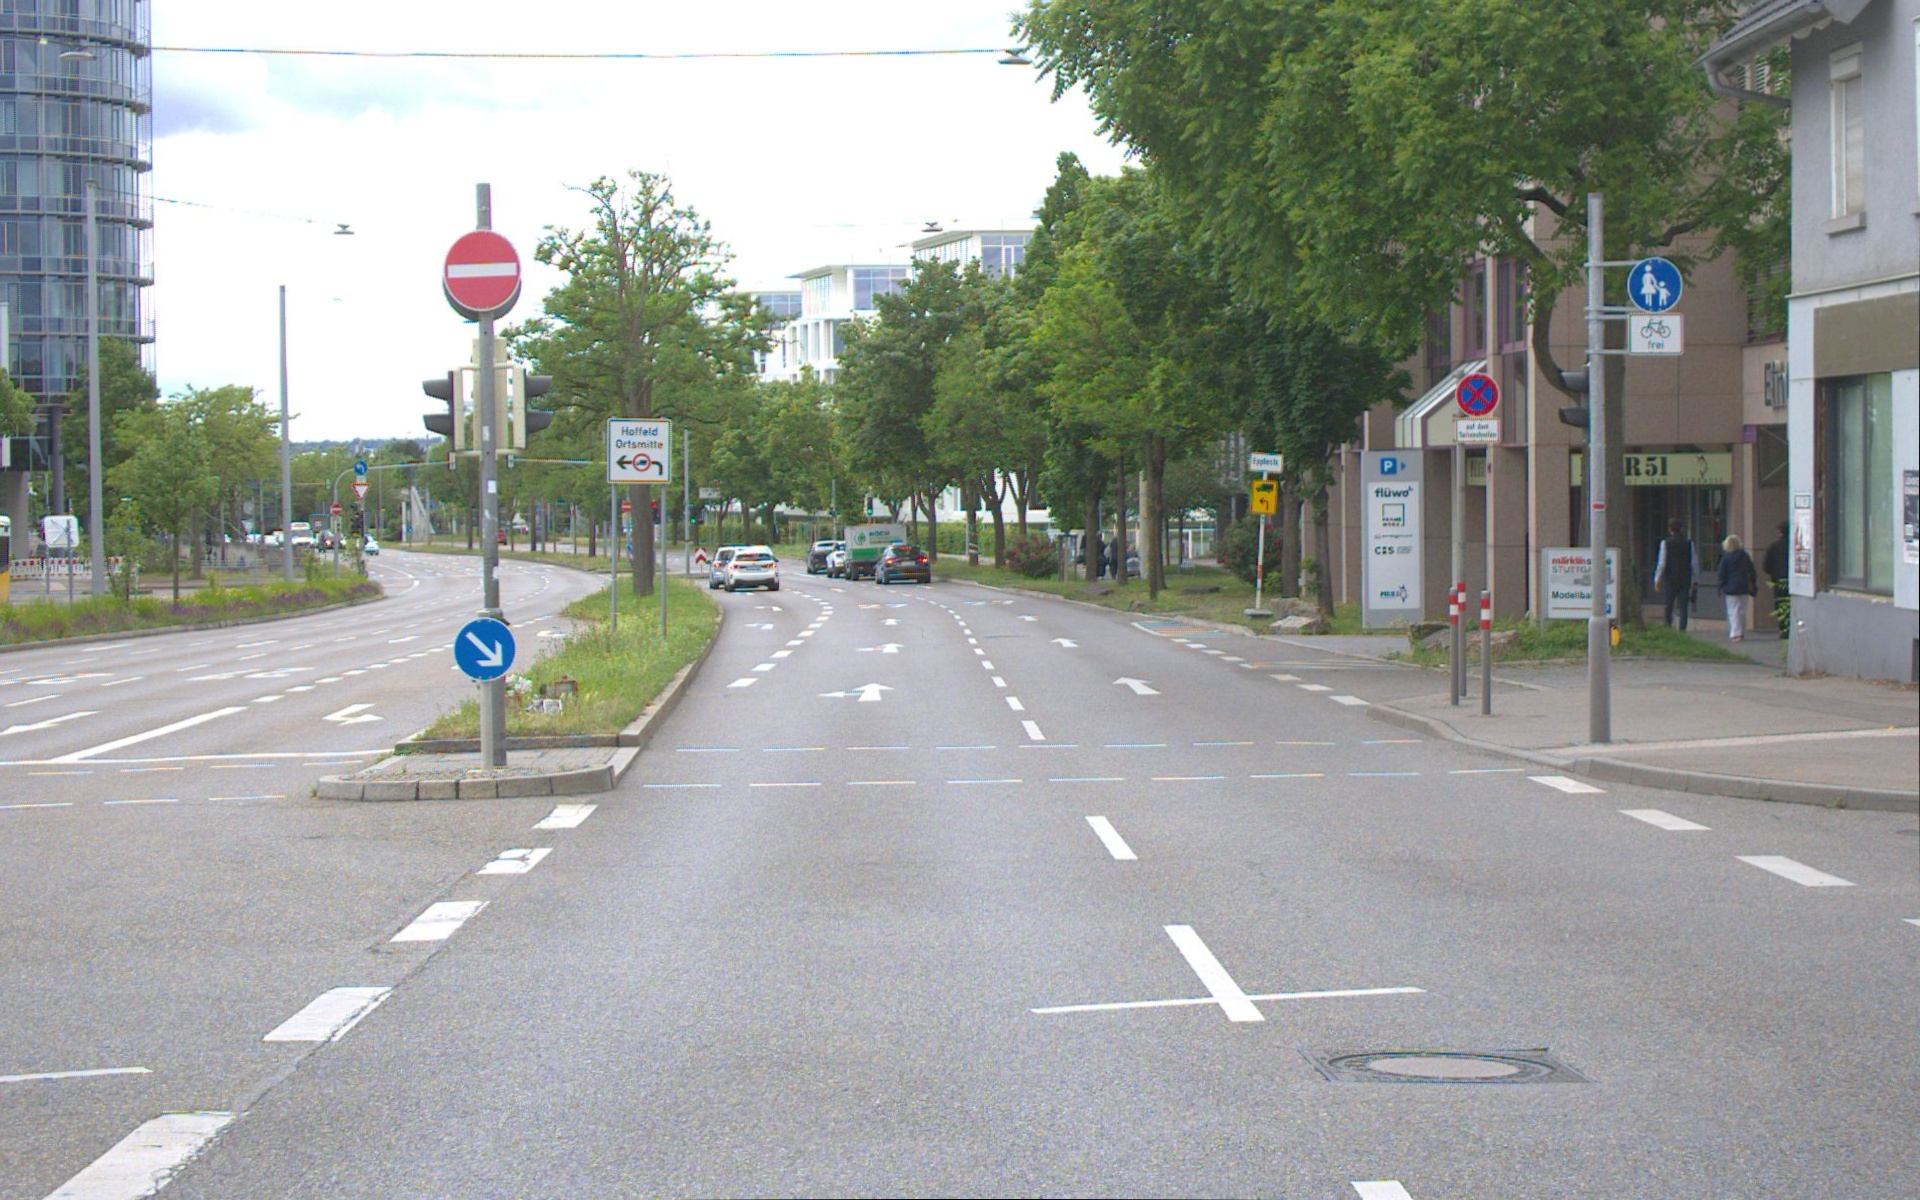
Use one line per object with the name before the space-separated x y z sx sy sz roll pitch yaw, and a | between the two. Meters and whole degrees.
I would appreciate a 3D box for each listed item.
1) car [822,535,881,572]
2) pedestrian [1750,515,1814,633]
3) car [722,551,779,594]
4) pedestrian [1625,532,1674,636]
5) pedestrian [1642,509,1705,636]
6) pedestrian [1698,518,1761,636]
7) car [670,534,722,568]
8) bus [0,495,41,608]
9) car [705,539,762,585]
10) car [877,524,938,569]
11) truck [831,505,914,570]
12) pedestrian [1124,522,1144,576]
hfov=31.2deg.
car | -4.582 -1.973 145.058 1.993 1.503 4.001 -1 1 -8
pedestrian | 12.055 -0.381 50.427 0.657 1.685 0.843 -3 1 -1
car | -7.443 -0.977 121.879 1.863 1.444 4.001 -1 1 -5
pedestrian | 10.469 -0.245 52.226 0.561 1.544 0.544 -3 1 -1
pedestrian | 10.473 -0.406 50.489 0.657 1.820 0.843 -3 1 -1
pedestrian | 11.291 -0.337 50.440 0.657 1.685 0.843 -3 1 -1
car | -11.764 -2.198 153.333 1.993 1.503 4.000 0 1 0
bus | -30.780 -1.504 104.878 3.031 3.444 9.912 1 1 -1
car | -8.432 -1.414 127.585 1.993 1.666 4.001 -1 1 -5
car | -1.942 -1.976 126.222 1.993 1.590 4.001 -1 1 -4
truck | -3.543 -2.492 137.689 2.859 2.511 6.288 -1 1 -5
pedestrian | 5.590 -1.640 110.482 0.567 1.694 0.829 -1 1 -1
